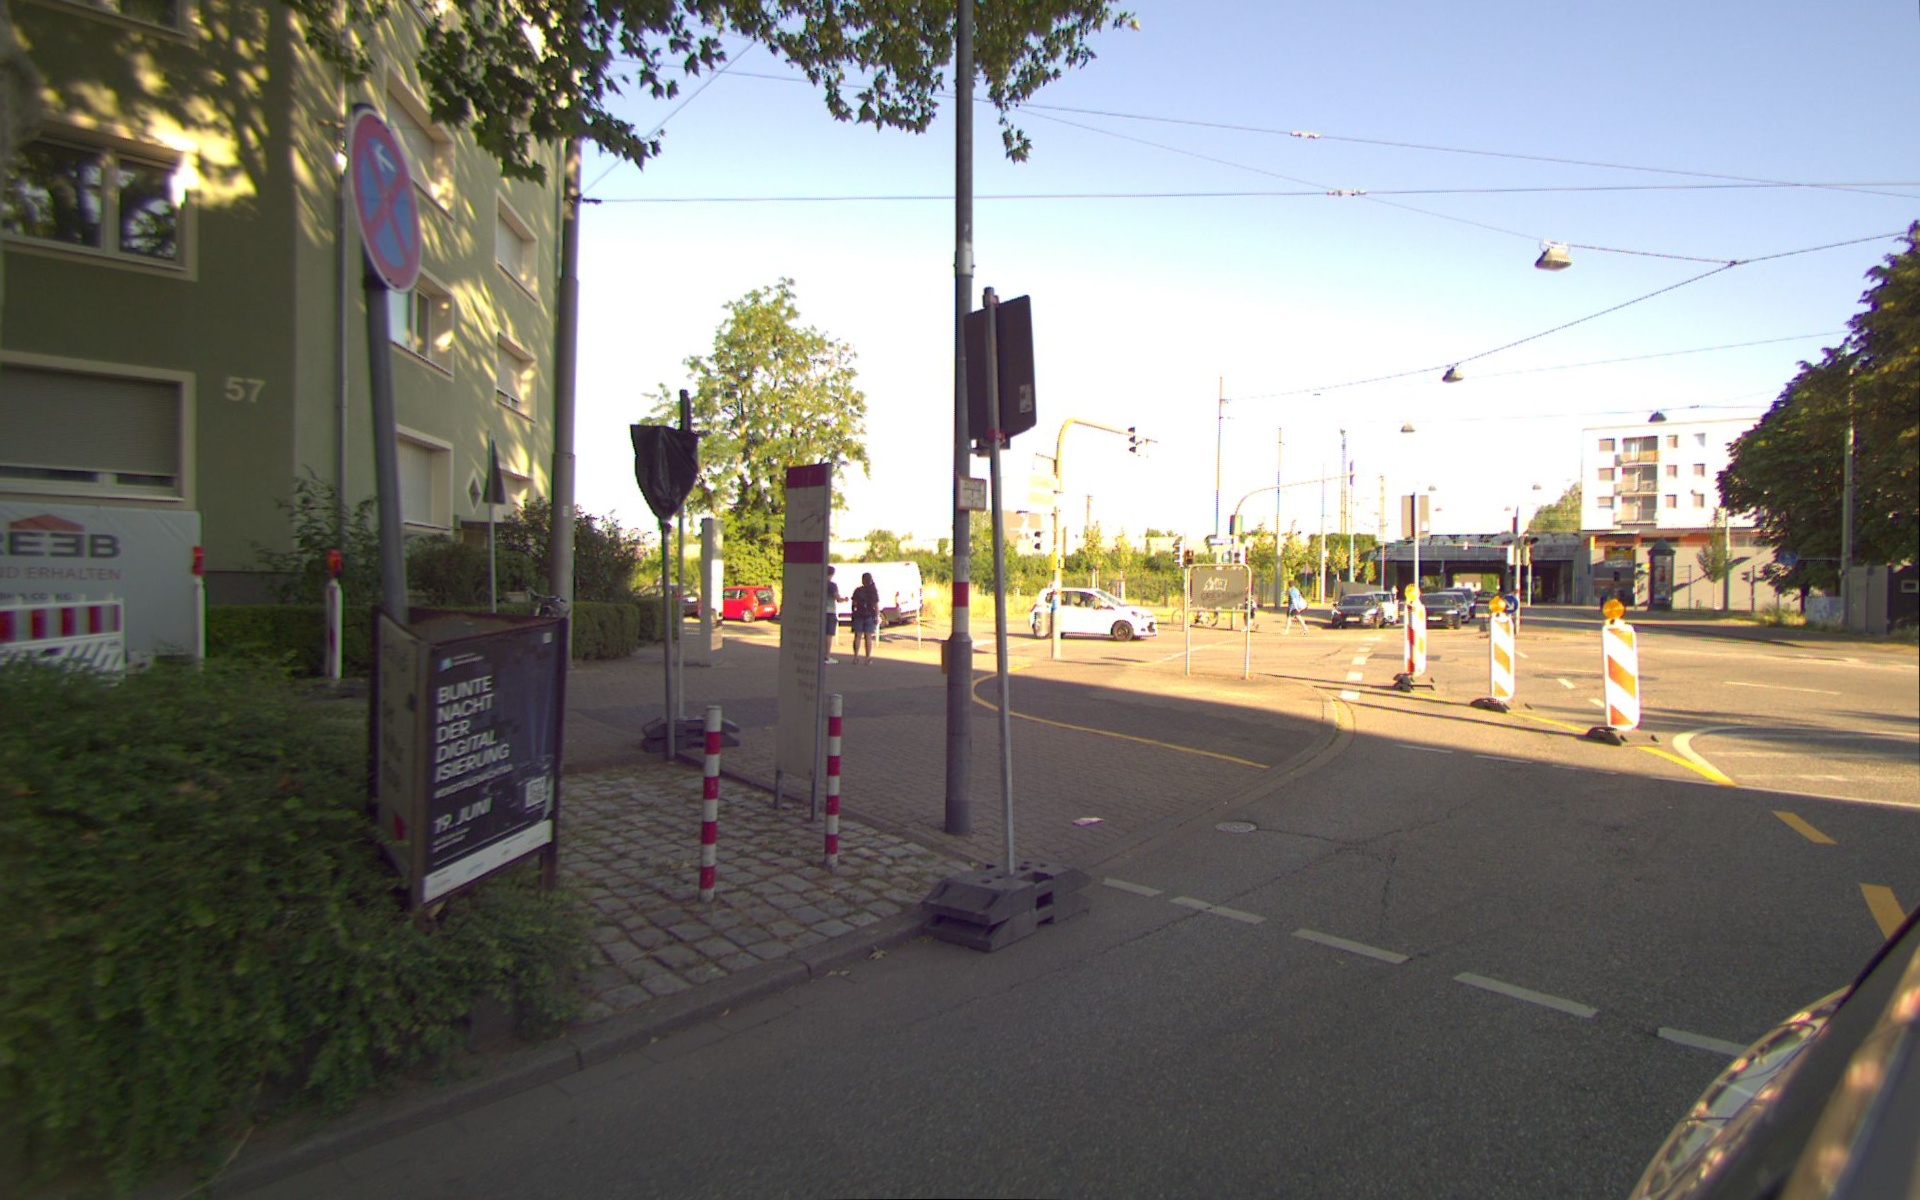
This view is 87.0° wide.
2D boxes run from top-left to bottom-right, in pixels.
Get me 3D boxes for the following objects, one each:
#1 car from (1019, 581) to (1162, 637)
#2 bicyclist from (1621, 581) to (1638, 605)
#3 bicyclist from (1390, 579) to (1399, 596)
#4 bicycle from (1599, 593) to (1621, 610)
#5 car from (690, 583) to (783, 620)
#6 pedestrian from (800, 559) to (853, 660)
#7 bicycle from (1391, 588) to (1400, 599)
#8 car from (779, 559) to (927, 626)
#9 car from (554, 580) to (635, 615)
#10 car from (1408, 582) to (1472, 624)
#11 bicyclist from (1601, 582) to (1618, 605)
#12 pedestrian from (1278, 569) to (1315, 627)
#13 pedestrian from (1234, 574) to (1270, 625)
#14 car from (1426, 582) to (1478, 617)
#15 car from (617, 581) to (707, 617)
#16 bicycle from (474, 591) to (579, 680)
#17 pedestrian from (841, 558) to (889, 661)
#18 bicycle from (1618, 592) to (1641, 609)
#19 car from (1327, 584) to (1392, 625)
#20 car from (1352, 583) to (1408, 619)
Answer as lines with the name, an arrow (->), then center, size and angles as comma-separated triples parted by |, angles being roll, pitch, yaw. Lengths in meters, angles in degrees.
car -> 3.711, 0.202, 28.721 | 3.733, 1.487, 1.693 | 1, 1, 24
bicyclist -> 44.043, -0.445, 66.579 | 0.651, 1.551, 1.032 | 0, 1, 16
bicyclist -> 43.020, -1.227, 100.124 | 0.769, 1.626, 0.850 | 2, 1, 26
bicycle -> 42.837, 0.080, 66.724 | 0.654, 1.082, 2.008 | 1, 1, 17
car -> -9.561, 0.030, 43.326 | 3.658, 1.505, 1.731 | 1, 1, 27
pedestrian -> -2.378, 0.155, 18.105 | 0.684, 1.772, 0.791 | 0, 1, 17
bicycle -> 43.089, -0.607, 100.147 | 0.657, 1.082, 2.000 | 1, 1, 27
car -> -4.257, -0.365, 40.162 | 5.504, 2.465, 2.218 | 1, 4, 26
car -> -17.129, -0.134, 47.428 | 3.544, 1.549, 1.650 | 1, 1, 27
car -> 19.687, 0.068, 41.414 | 2.037, 1.586, 4.403 | 1, 1, 30
bicyclist -> 42.849, -0.430, 66.748 | 0.688, 1.551, 1.032 | 0, 1, 17
pedestrian -> 11.471, -0.089, 34.490 | 1.059, 1.949, 0.905 | 1, 1, 31
pedestrian -> 10.436, -0.030, 36.131 | 1.059, 1.769, 0.905 | 1, 1, 31
car -> 23.621, -0.086, 48.520 | 1.982, 1.586, 4.411 | 1, 1, 29
car -> -13.366, -0.068, 45.393 | 3.779, 1.549, 1.731 | 1, 1, 27
bicycle -> -5.687, 0.429, 13.401 | 0.511, 1.070, 1.933 | 0, 1, 2
pedestrian -> -1.676, 0.151, 17.946 | 0.682, 1.772, 0.793 | 0, 1, 9
bicycle -> 44.064, 0.024, 66.622 | 0.654, 1.082, 2.009 | 1, 1, 15
car -> 16.688, 0.141, 42.148 | 1.982, 1.586, 4.232 | 0, 1, 29
car -> 19.866, 0.000, 47.789 | 1.982, 1.586, 4.232 | 1, 1, 29
